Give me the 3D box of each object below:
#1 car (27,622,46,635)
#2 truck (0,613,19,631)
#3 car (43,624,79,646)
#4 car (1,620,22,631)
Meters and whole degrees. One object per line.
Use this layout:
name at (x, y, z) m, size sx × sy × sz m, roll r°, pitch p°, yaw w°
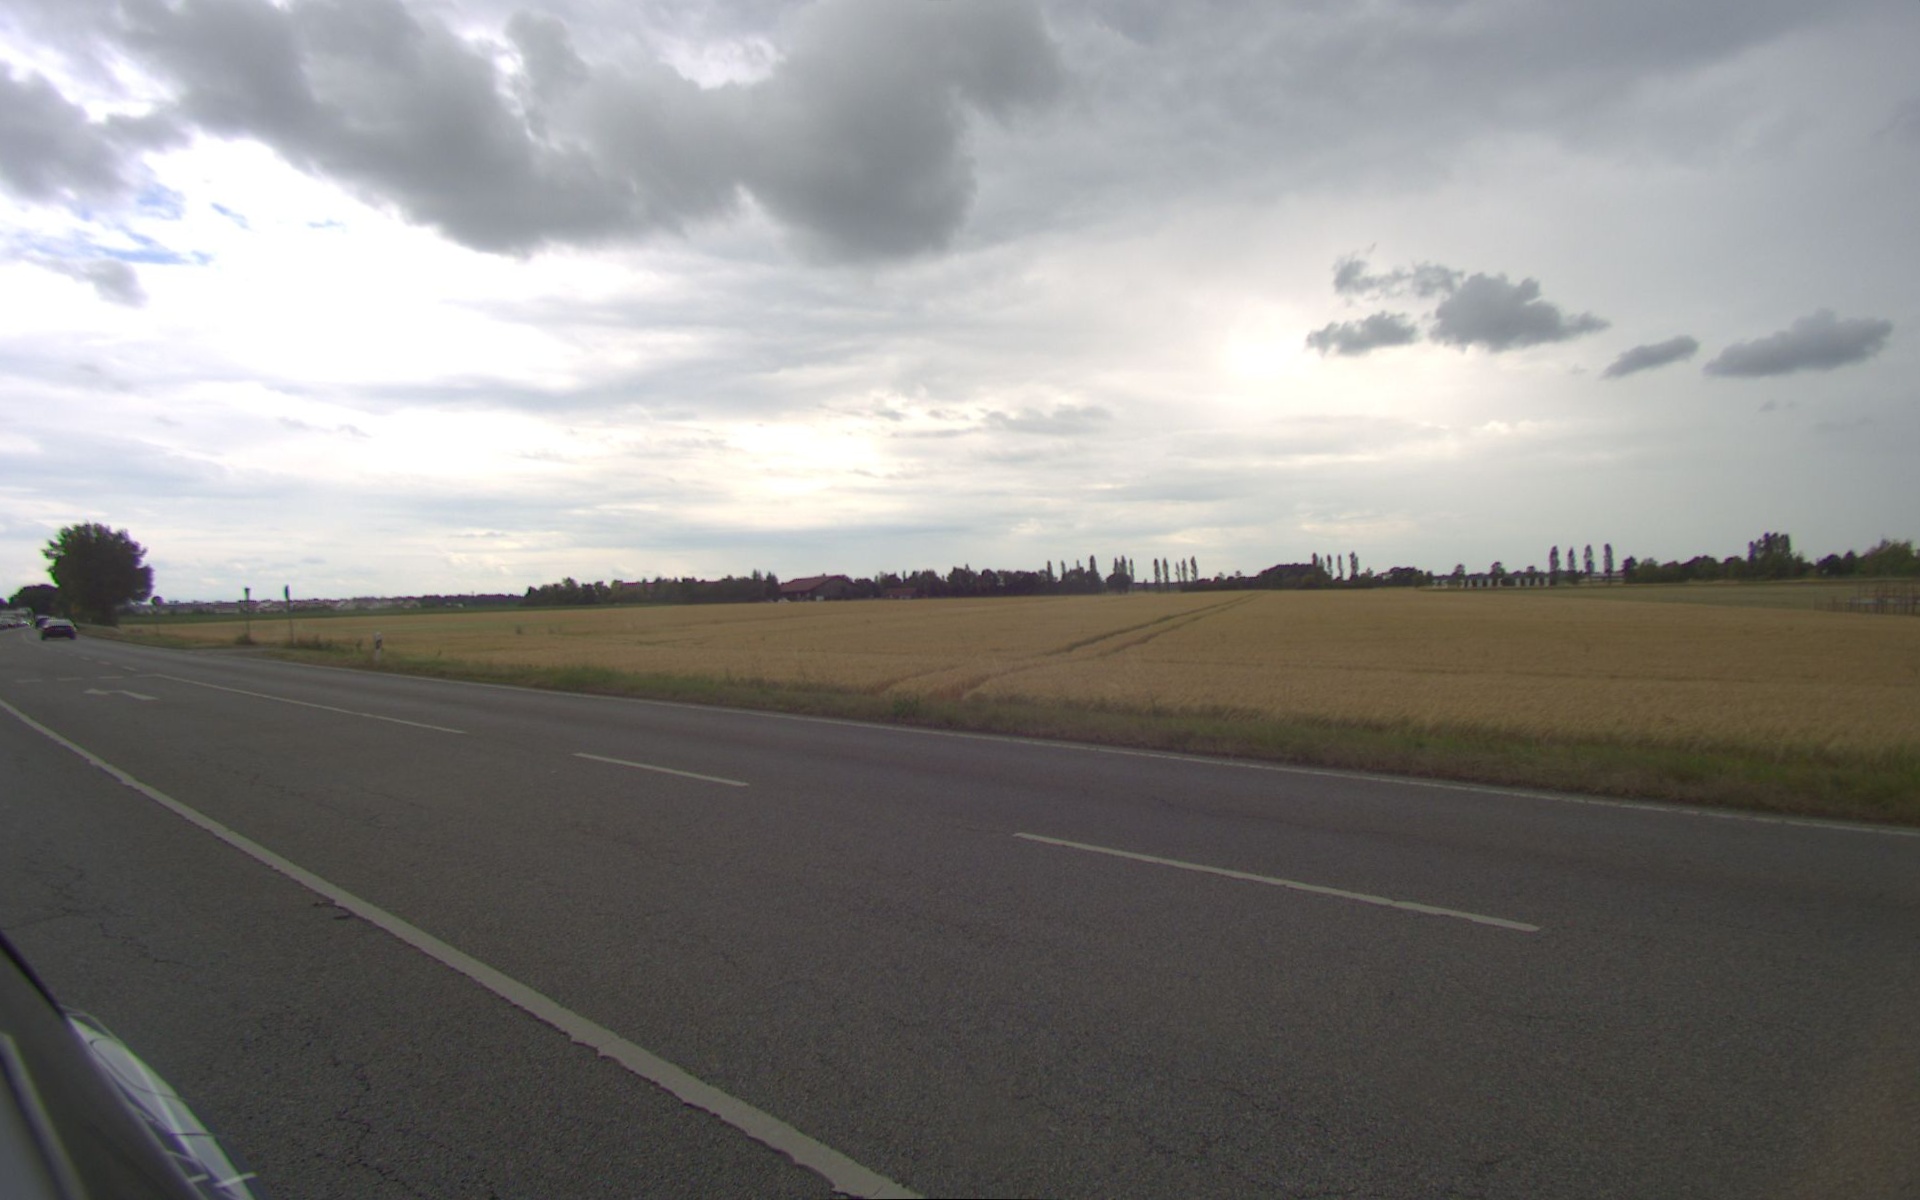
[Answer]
car at (-124.687, 3.855, 136.646) m, size 1.923 × 1.707 × 4.452 m, roll 0°, pitch -1°, yaw -42°
truck at (-151.665, 3.496, 160.890) m, size 7.670 × 2.786 × 2.290 m, roll -1°, pitch 0°, yaw 42°
car at (-62.762, 2.424, 70.627) m, size 1.805 × 1.421 × 4.428 m, roll -1°, pitch 0°, yaw -43°
car at (-134.994, 3.638, 144.059) m, size 1.766 × 1.551 × 4.145 m, roll -1°, pitch -1°, yaw -37°
